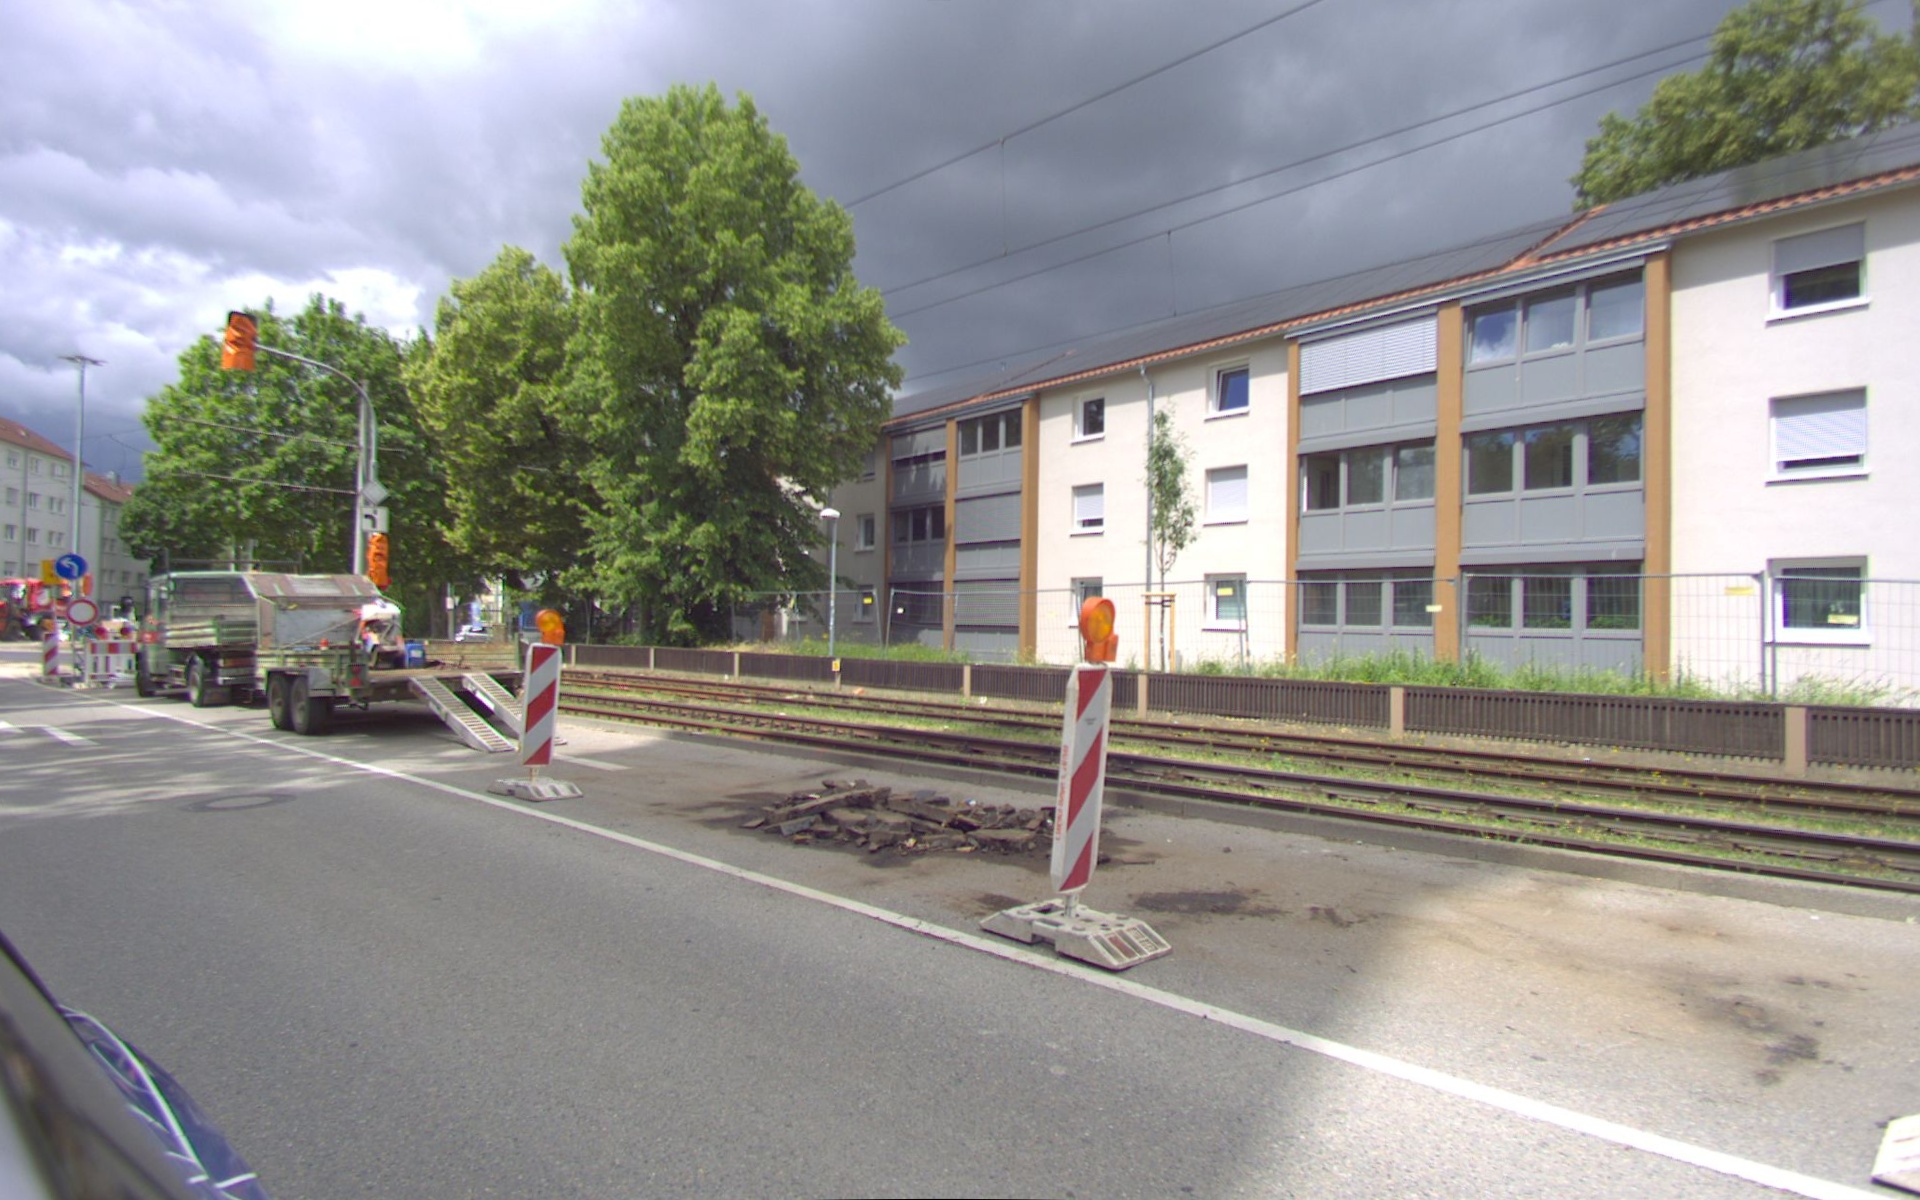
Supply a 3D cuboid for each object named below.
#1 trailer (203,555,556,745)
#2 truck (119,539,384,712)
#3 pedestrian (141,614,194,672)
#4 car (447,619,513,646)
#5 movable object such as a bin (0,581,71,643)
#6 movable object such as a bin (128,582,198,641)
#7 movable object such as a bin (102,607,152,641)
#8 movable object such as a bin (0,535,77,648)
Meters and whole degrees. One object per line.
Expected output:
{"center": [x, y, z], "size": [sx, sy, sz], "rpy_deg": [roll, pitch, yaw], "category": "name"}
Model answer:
{"center": [-8.768, 0.613, 14.968], "size": [6.244, 2.230, 2.635], "rpy_deg": [-1, -1, 41], "category": "trailer"}
{"center": [-13.529, 0.430, 19.134], "size": [6.392, 2.746, 2.635], "rpy_deg": [-1, -1, 41], "category": "truck"}
{"center": [-21.857, 1.167, 27.921], "size": [0.888, 1.563, 0.764], "rpy_deg": [-1, -1, 1], "category": "pedestrian"}
{"center": [-27.243, 1.828, 57.415], "size": [3.150, 1.466, 1.568], "rpy_deg": [2, -3, -35], "category": "car"}
{"center": [-43.171, 0.528, 45.859], "size": [2.080, 2.689, 5.604], "rpy_deg": [1, -1, -16], "category": "movable object such as a bin"}
{"center": [-64.996, 1.028, 82.660], "size": [2.777, 4.570, 6.229], "rpy_deg": [1, -3, -23], "category": "movable object such as a bin"}
{"center": [-61.049, 1.807, 74.237], "size": [1.965, 2.428, 4.012], "rpy_deg": [2, -3, -28], "category": "movable object such as a bin"}
{"center": [-48.383, -0.470, 48.850], "size": [2.787, 5.527, 9.016], "rpy_deg": [0, -2, 7], "category": "movable object such as a bin"}
